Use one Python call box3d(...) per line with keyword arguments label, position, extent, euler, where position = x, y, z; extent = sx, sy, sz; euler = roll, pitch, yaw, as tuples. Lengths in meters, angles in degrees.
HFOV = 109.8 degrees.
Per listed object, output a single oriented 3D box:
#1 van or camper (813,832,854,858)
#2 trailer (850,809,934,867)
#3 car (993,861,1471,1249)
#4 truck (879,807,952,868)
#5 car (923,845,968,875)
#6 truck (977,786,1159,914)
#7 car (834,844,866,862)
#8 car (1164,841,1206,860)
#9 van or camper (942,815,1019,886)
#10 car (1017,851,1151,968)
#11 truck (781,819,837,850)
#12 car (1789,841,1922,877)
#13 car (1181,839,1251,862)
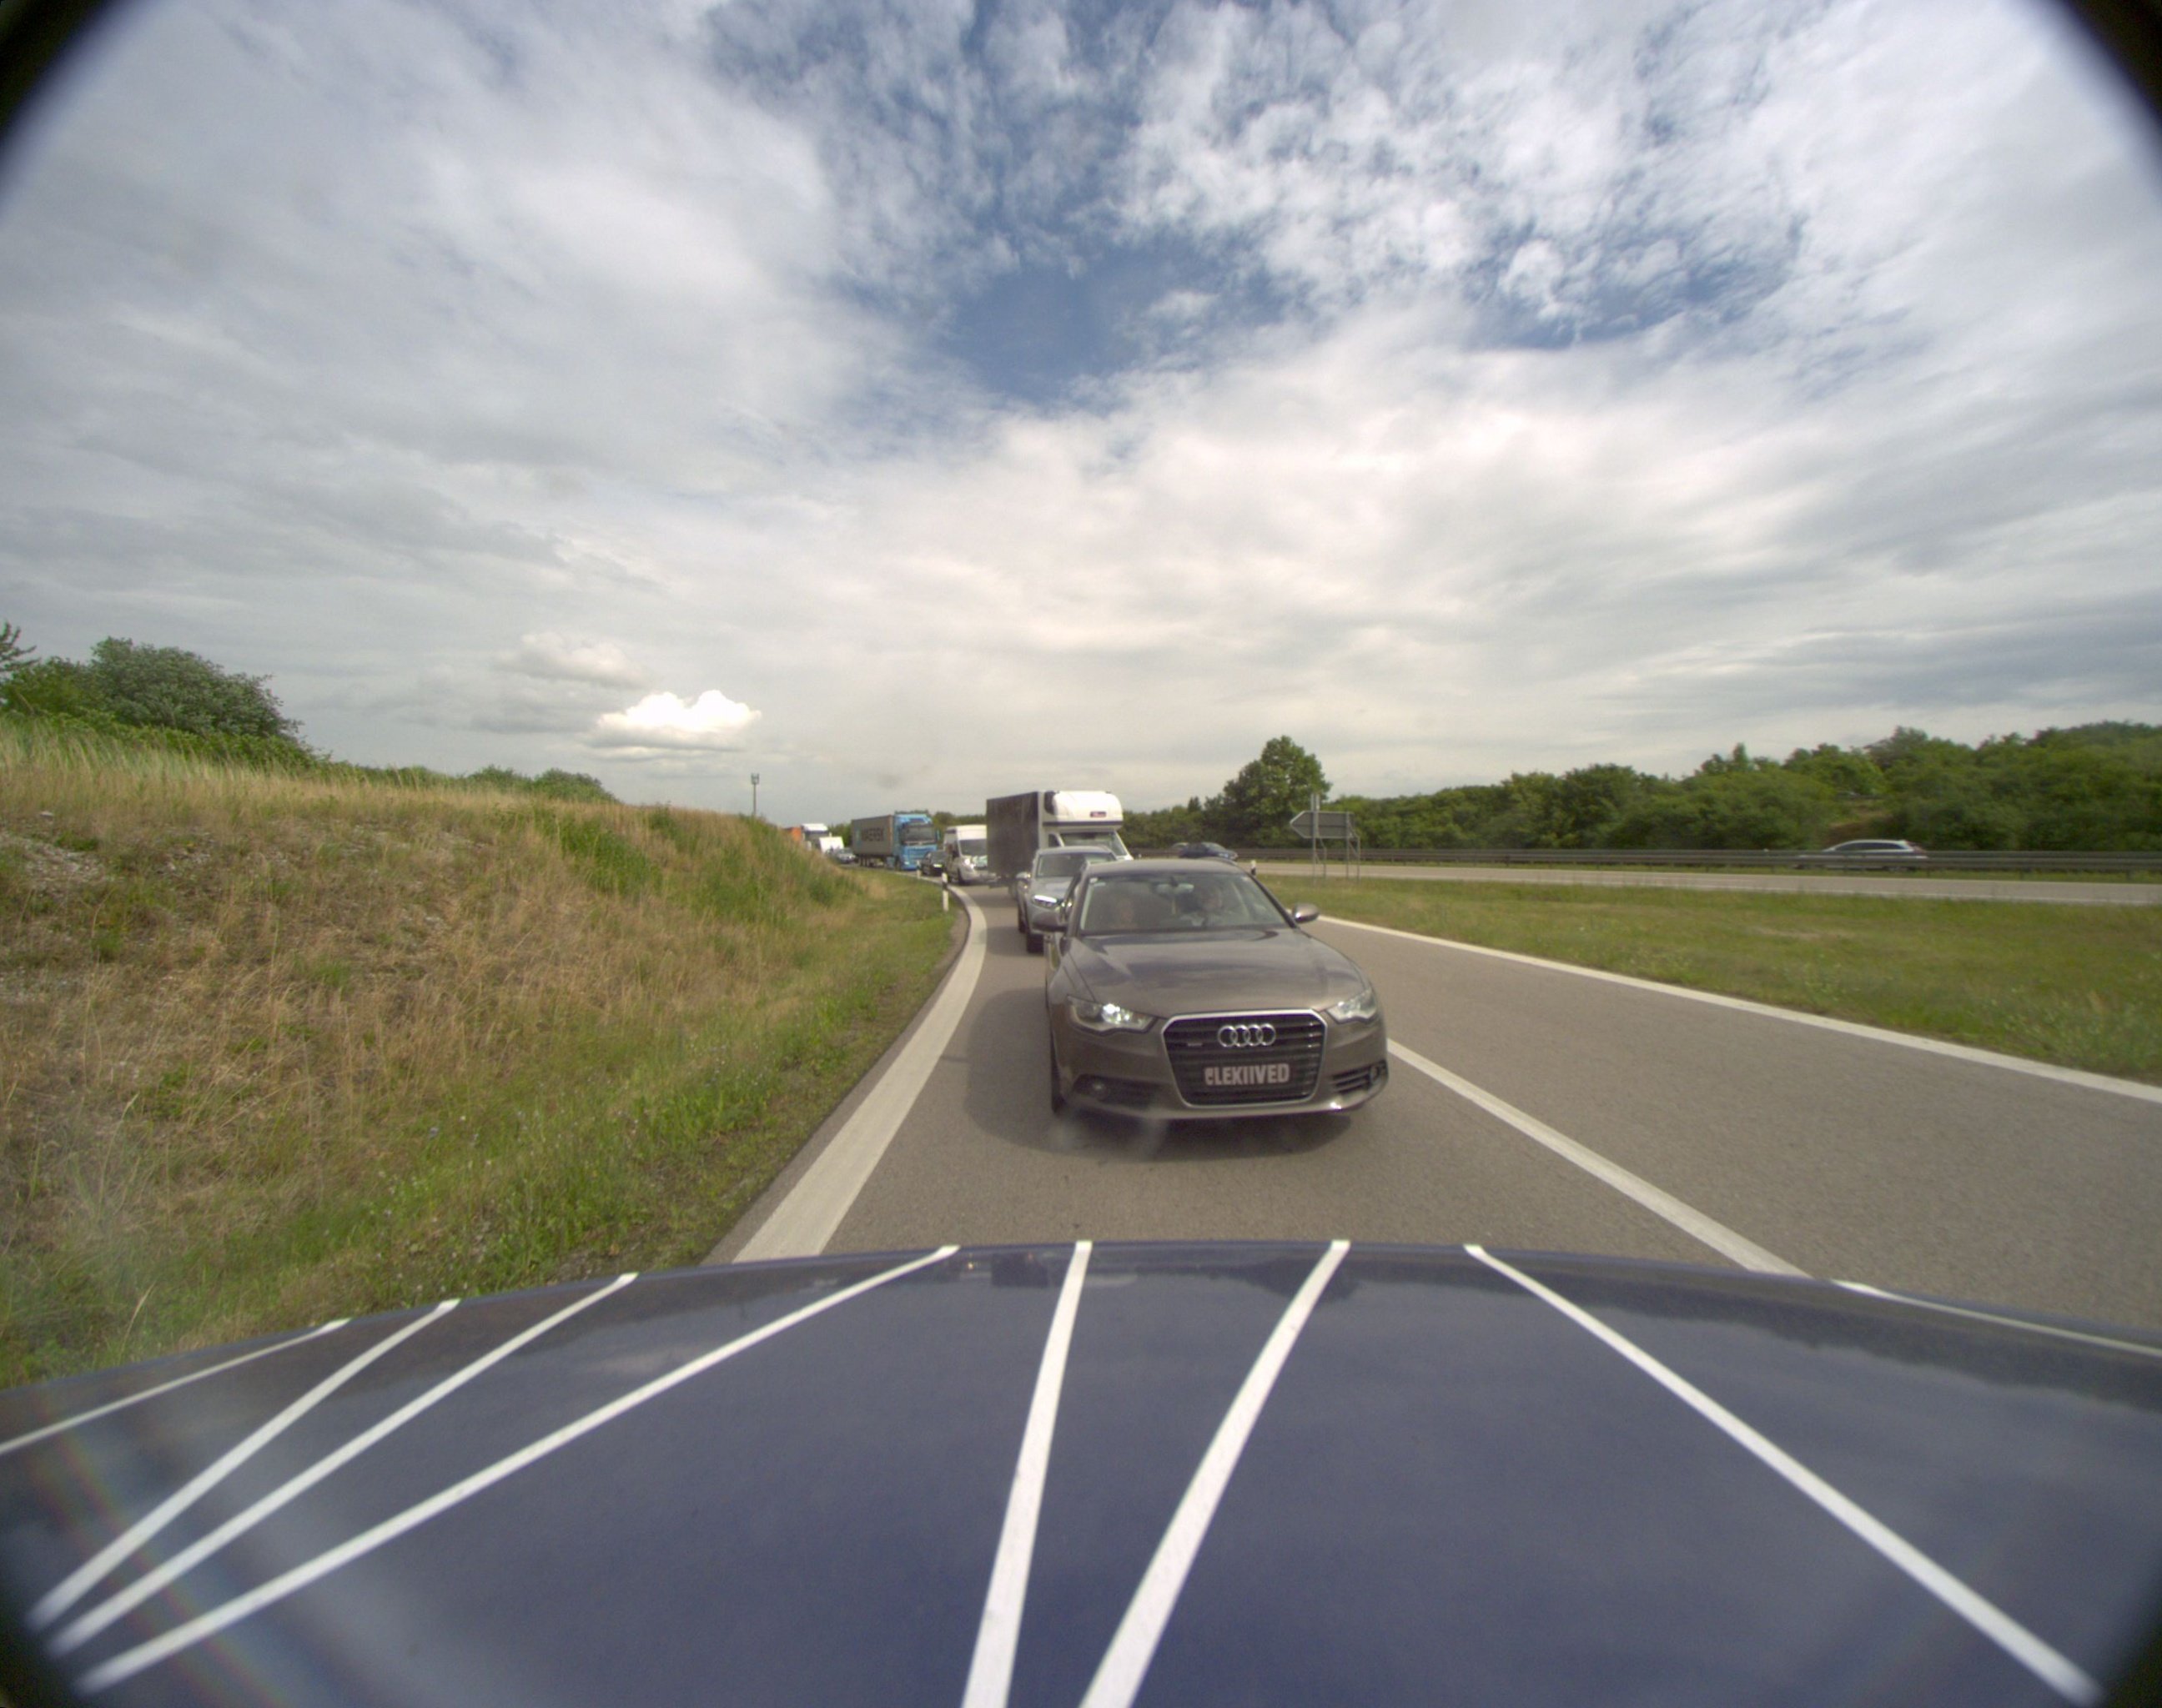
box3d(label="van or camper", position=(-24.508, -0.921, 75.098), extent=(2.557, 2.200, 5.693), euler=(-3, 5, -31))
box3d(label="trailer", position=(-15.296, -1.124, 60.592), extent=(3.280, 4.137, 11.989), euler=(-3, 1, -29))
box3d(label="car", position=(0.630, 0.878, 5.501), extent=(1.999, 1.505, 4.537), euler=(-2, 1, -1))
box3d(label="truck", position=(-11.968, -1.114, 54.523), extent=(3.184, 4.049, 6.631), euler=(-3, 1, -29))
box3d(label="car", position=(-8.010, 0.310, 44.727), extent=(2.002, 1.609, 3.992), euler=(-1, 1, -19))
box3d(label="truck", position=(-0.728, -0.128, 22.631), extent=(2.571, 3.149, 7.453), euler=(-3, 1, -24))
box3d(label="car", position=(-21.289, -0.136, 69.994), extent=(2.003, 1.521, 3.990), euler=(-2, 2, -29))
box3d(label="car", position=(8.911, -0.323, 65.247), extent=(1.543, 1.500, 3.513), euler=(-2, 2, -35))
box3d(label="van or camper", position=(-4.744, -0.168, 34.915), extent=(2.401, 2.892, 5.711), euler=(-3, 1, -18))
box3d(label="car", position=(-0.120, 0.781, 12.912), extent=(1.843, 1.587, 4.171), euler=(-1, 1, -6))
box3d(label="truck", position=(-30.569, -2.066, 84.959), extent=(3.131, 3.220, 11.131), euler=(-2, 1, -34))
box3d(label="car", position=(35.169, 0.175, 34.594), extent=(1.816, 1.478, 3.989), euler=(-2, 2, -35))
box3d(label="car", position=(8.711, -0.277, 49.425), extent=(2.003, 1.415, 4.446), euler=(-2, 2, -33))
